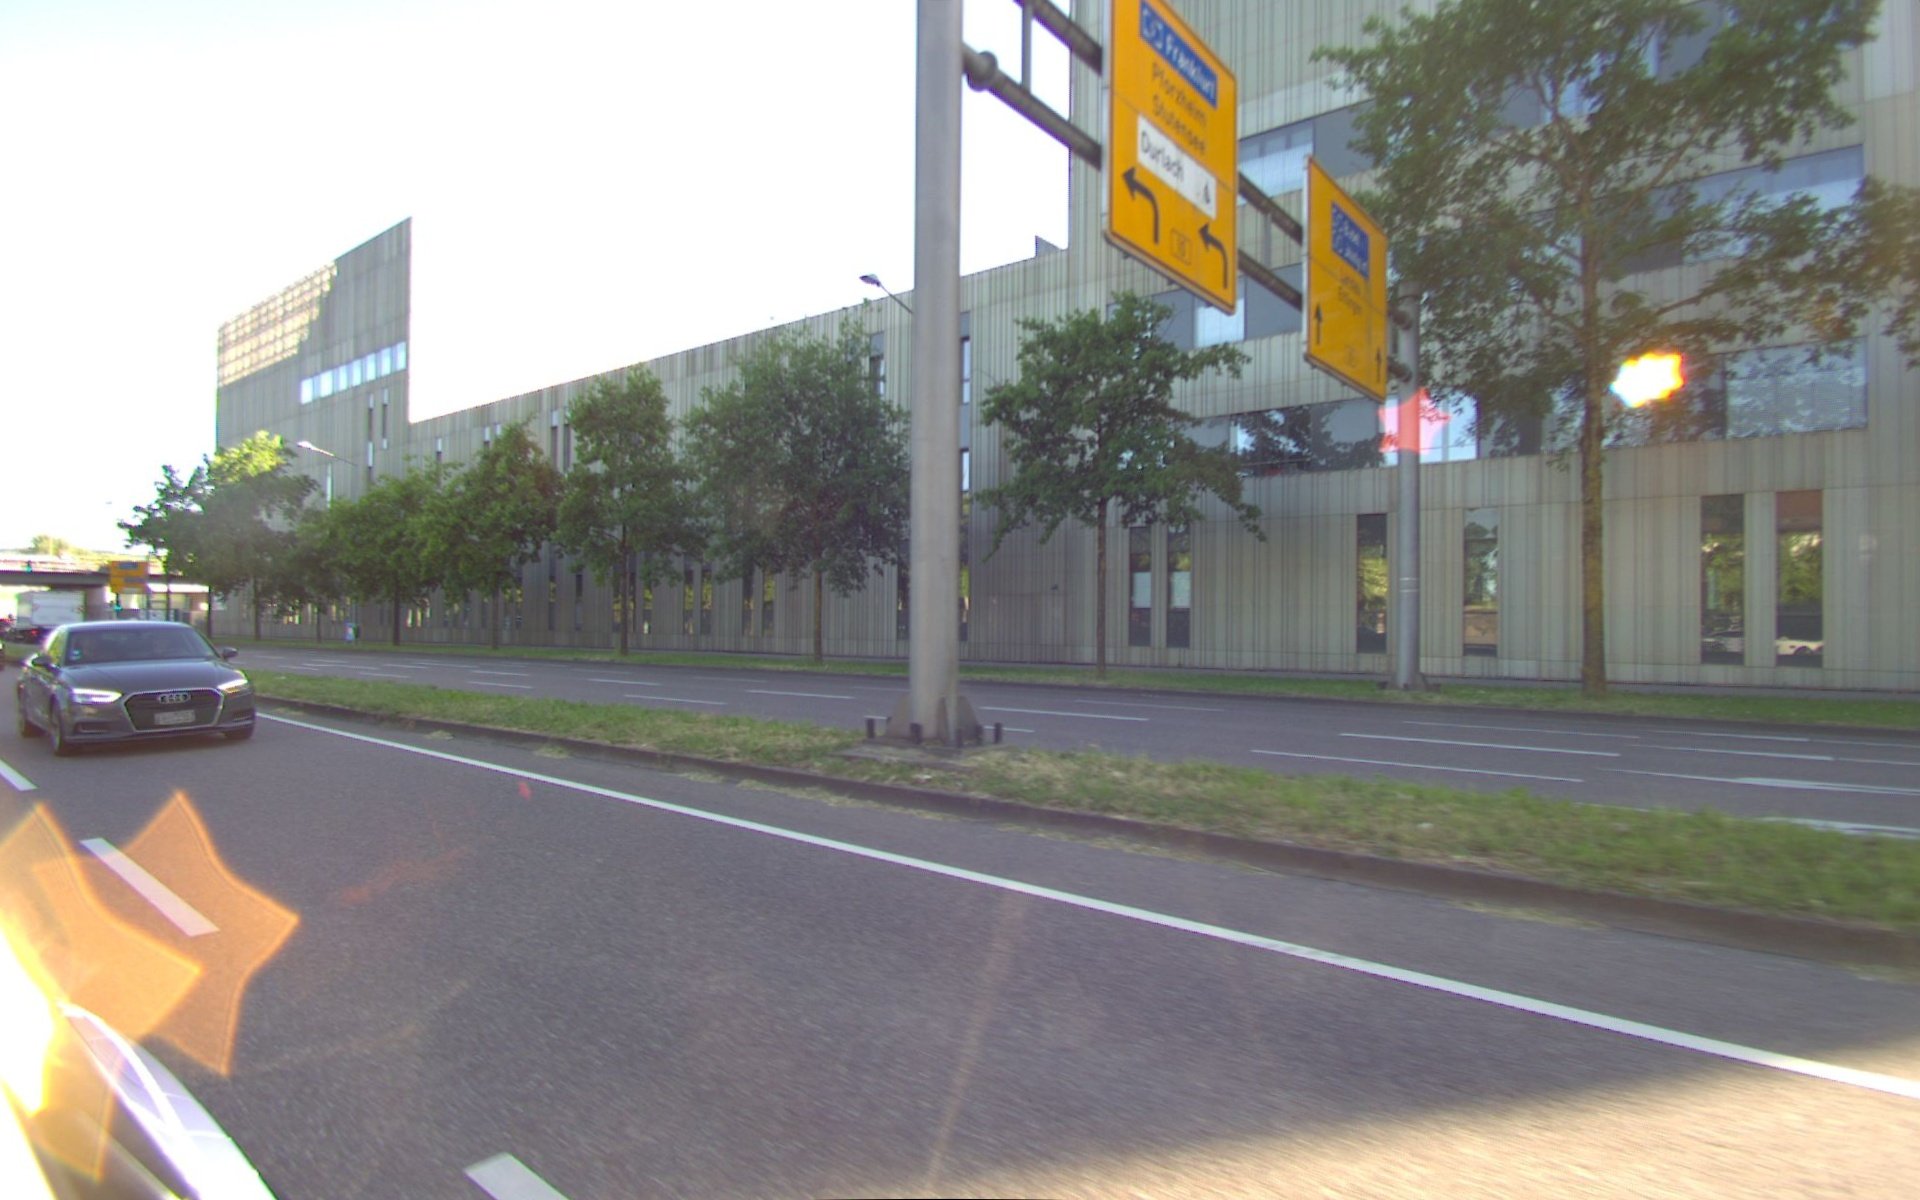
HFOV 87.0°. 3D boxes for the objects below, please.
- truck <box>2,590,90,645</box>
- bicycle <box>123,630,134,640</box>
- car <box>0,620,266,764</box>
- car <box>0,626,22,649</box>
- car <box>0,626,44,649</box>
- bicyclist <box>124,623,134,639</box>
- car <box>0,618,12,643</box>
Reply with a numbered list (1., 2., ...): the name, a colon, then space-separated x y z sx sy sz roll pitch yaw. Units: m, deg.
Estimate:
1. truck: -52.540 1.037 58.132 7.108 2.983 2.659 -1 -4 40
2. bicycle: -79.964 3.348 97.323 1.752 0.897 0.507 -1 -2 38
3. car: -10.017 0.952 12.075 4.360 1.415 1.681 -1 -2 39
4. car: -63.700 2.455 67.186 3.636 1.481 1.604 -1 -4 40
5. car: -59.110 2.361 63.506 3.995 1.435 1.817 -2 -3 39
6. bicyclist: -79.855 2.978 97.247 0.752 1.453 0.502 -1 -2 38
7. car: -67.877 2.129 70.726 3.996 1.669 1.823 0 -2 40
